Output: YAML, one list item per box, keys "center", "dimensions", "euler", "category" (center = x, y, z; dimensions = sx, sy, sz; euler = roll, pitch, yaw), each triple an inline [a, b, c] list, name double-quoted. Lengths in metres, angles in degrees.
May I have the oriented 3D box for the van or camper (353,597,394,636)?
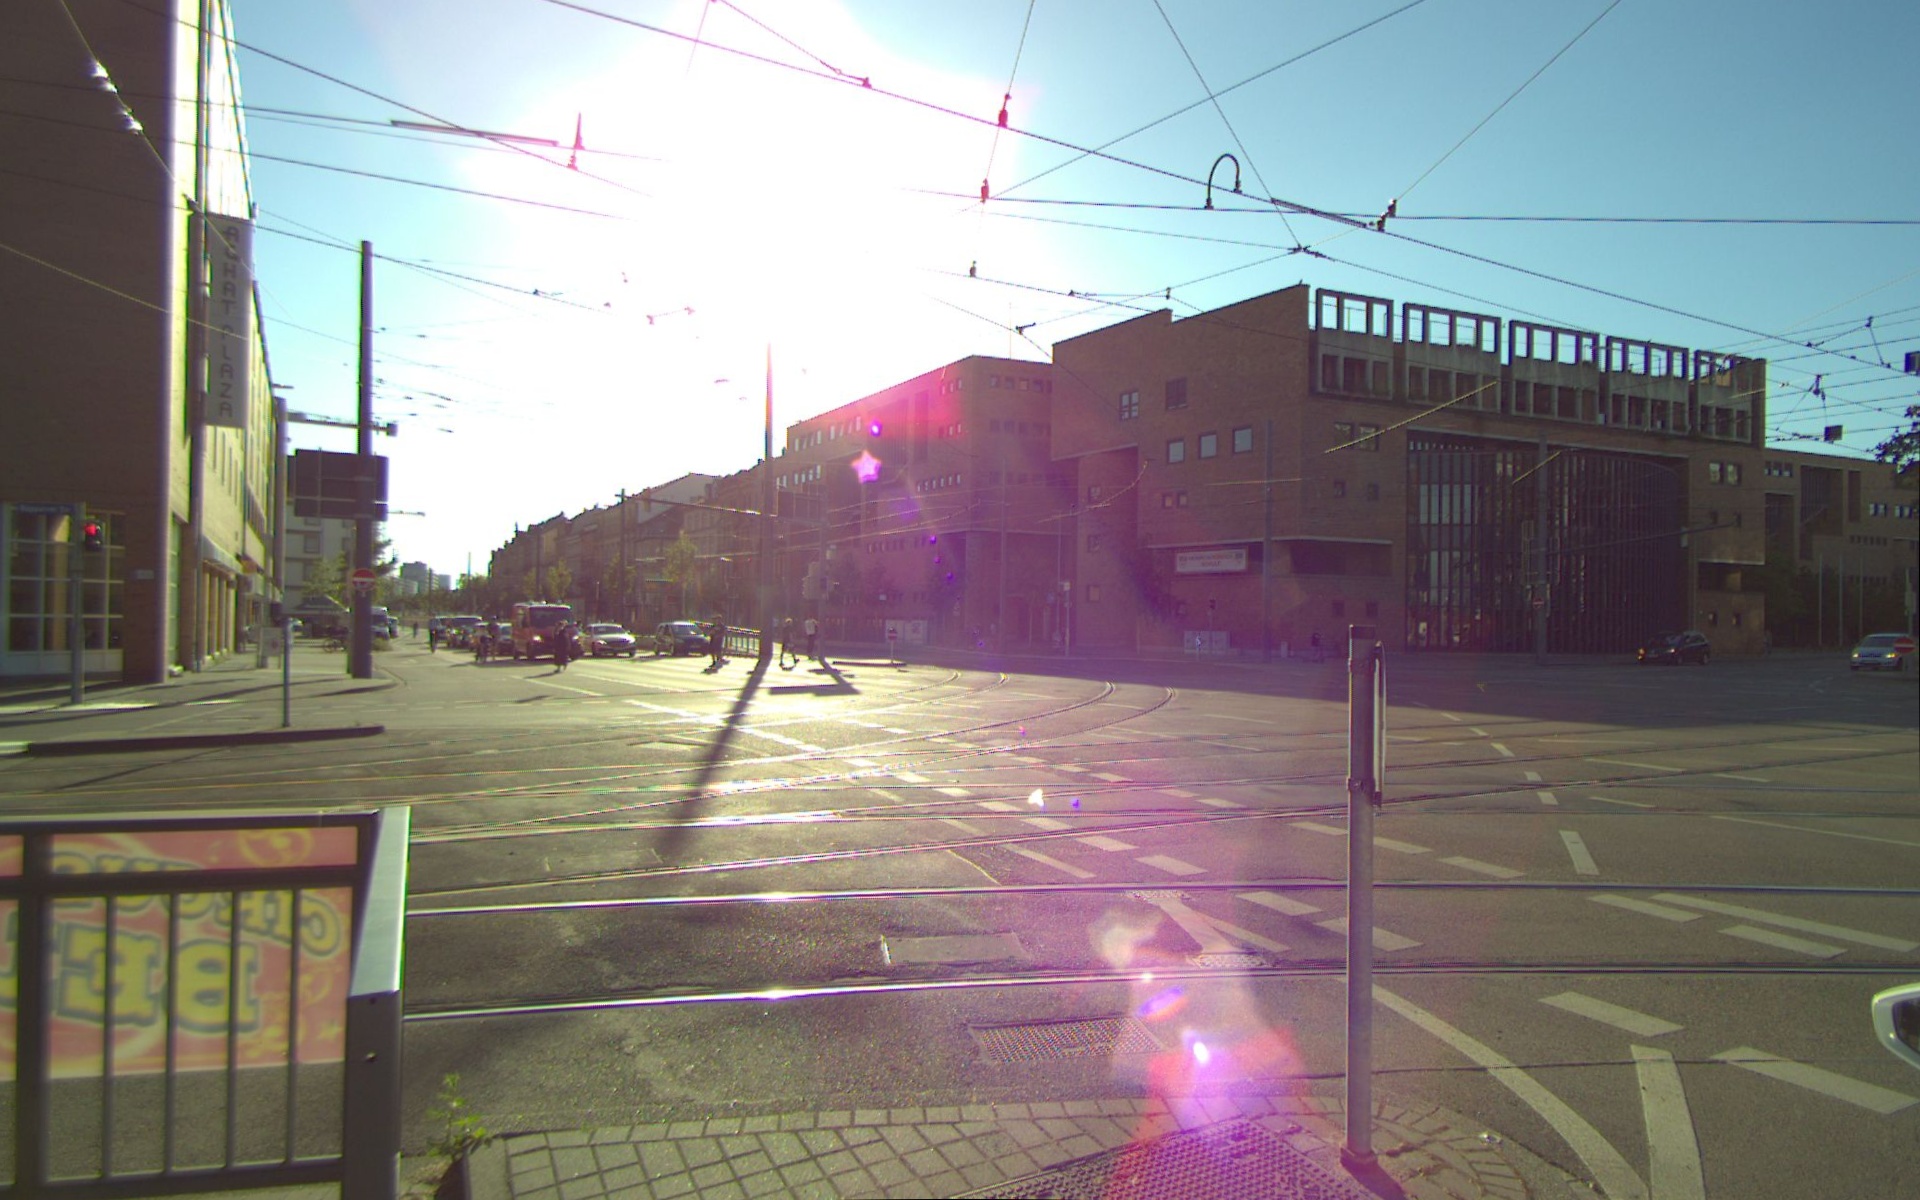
- center: [-36.317, 0.959, 62.122]
  dimensions: [1.978, 2.199, 5.565]
  euler: [1, 0, -32]
  category: "van or camper"

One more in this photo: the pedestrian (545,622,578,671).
- center: [-13.087, 1.532, 32.993]
  dimensions: [0.536, 1.574, 0.868]
  euler: [0, -1, 30]
  category: "pedestrian"

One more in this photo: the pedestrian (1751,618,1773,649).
- center: [53.833, 2.220, 67.439]
  dimensions: [0.746, 2.040, 0.896]
  euler: [1, -1, -19]
  category: "pedestrian"

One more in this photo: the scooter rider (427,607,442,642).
- center: [-26.975, 1.253, 51.576]
  dimensions: [0.525, 1.778, 0.570]
  euler: [1, -1, -11]
  category: "scooter rider"

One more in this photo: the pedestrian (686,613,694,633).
- center: [-23.641, 1.994, 87.848]
  dimensions: [0.501, 1.755, 0.645]
  euler: [1, -1, -34]
  category: "pedestrian"

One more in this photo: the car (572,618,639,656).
- center: [-16.348, 1.671, 46.222]
  dimensions: [1.874, 1.553, 3.960]
  euler: [1, 0, -36]
  category: "car"

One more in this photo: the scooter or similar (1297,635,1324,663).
- center: [17.133, 2.389, 49.115]
  dimensions: [0.525, 1.335, 1.118]
  euler: [2, -2, -42]
  category: "scooter or similar"

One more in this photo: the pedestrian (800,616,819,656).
- center: [-6.556, 1.565, 43.772]
  dimensions: [0.633, 1.740, 0.773]
  euler: [1, -1, -25]
  category: "pedestrian"

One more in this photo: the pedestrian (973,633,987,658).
- center: [1.456, 3.303, 72.375]
  dimensions: [0.726, 1.779, 0.690]
  euler: [1, -1, -29]
  category: "pedestrian"

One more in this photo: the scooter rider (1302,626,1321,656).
- center: [17.186, 1.999, 49.062]
  dimensions: [0.504, 1.480, 0.713]
  euler: [1, -1, -41]
  category: "scooter rider"

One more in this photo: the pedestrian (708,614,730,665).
- center: [-8.360, 1.364, 34.848]
  dimensions: [0.629, 1.740, 0.777]
  euler: [1, -1, -6]
  category: "pedestrian"

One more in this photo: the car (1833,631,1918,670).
- center: [40.785, 2.225, 44.733]
  dimensions: [4.277, 1.618, 1.721]
  euler: [1, -2, -32]
  category: "car"

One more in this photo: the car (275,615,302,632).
- center: [-67.862, 2.402, 101.497]
  dimensions: [1.828, 1.606, 4.109]
  euler: [1, 0, -39]
  category: "car"

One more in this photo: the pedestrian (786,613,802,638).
- center: [-11.199, 1.734, 67.761]
  dimensions: [0.882, 1.694, 0.665]
  euler: [1, -1, -36]
  category: "pedestrian"

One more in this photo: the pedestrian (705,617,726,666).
- center: [-8.692, 1.464, 35.728]
  dimensions: [0.629, 1.740, 0.777]
  euler: [1, -1, -6]
  category: "pedestrian"

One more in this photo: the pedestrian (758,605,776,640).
- center: [-9.391, 1.108, 48.882]
  dimensions: [0.671, 1.706, 0.571]
  euler: [1, -1, -30]
  category: "pedestrian"

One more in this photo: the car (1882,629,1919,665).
- center: [46.756, 2.288, 48.780]
  dimensions: [4.277, 1.672, 1.844]
  euler: [1, -2, -32]
  category: "car"

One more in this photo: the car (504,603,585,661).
- center: [-17.812, 1.343, 42.890]
  dimensions: [2.065, 2.319, 5.212]
  euler: [1, -2, -35]
  category: "car"

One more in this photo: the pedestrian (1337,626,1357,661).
- center: [19.530, 2.185, 50.703]
  dimensions: [0.807, 1.739, 0.665]
  euler: [0, -1, 9]
  category: "pedestrian"

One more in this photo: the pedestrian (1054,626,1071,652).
- center: [6.162, 2.360, 60.544]
  dimensions: [0.706, 1.559, 0.846]
  euler: [1, -1, -26]
  category: "pedestrian"

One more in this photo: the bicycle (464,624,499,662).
- center: [-19.187, 1.699, 40.266]
  dimensions: [0.924, 1.461, 2.083]
  euler: [1, -2, -34]
  category: "bicycle"

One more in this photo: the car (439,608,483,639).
- center: [-32.377, 1.499, 65.137]
  dimensions: [1.874, 1.891, 4.272]
  euler: [1, 0, -36]
  category: "car"

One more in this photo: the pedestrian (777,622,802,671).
- center: [-6.102, 1.648, 36.004]
  dimensions: [0.618, 1.724, 0.743]
  euler: [1, -1, -33]
  category: "pedestrian"

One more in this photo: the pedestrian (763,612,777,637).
- center: [-13.246, 1.714, 70.048]
  dimensions: [0.654, 1.694, 0.664]
  euler: [1, -1, -42]
  category: "pedestrian"

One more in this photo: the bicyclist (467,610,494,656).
- center: [-19.205, 1.309, 40.223]
  dimensions: [0.809, 1.810, 0.808]
  euler: [1, -1, -35]
  category: "bicyclist"

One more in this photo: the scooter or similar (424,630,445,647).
- center: [-26.970, 1.983, 51.562]
  dimensions: [0.535, 0.842, 1.238]
  euler: [1, -1, -8]
  category: "scooter or similar"

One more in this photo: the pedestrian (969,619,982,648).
- center: [0.827, 1.771, 53.112]
  dimensions: [0.483, 1.559, 0.549]
  euler: [1, -1, -20]
  category: "pedestrian"

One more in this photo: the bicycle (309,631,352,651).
- center: [-31.871, 2.090, 50.880]
  dimensions: [1.701, 0.993, 0.639]
  euler: [1, -1, -16]
  category: "bicycle"

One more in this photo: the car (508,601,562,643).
- center: [-25.469, 1.299, 60.125]
  dimensions: [2.031, 2.389, 4.873]
  euler: [1, -1, -35]
  category: "car"

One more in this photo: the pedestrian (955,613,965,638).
- center: [0.000, 1.853, 73.275]
  dimensions: [0.533, 1.779, 0.460]
  euler: [1, -1, -35]
  category: "pedestrian"

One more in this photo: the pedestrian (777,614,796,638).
- center: [-12.104, 1.805, 70.031]
  dimensions: [0.882, 1.694, 1.085]
  euler: [1, -1, -36]
  category: "pedestrian"

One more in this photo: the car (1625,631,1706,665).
- center: [36.764, 2.472, 52.320]
  dimensions: [4.450, 1.676, 1.824]
  euler: [1, -2, -32]
  category: "car"

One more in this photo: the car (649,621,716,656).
- center: [-13.019, 1.786, 46.929]
  dimensions: [1.746, 1.467, 3.960]
  euler: [1, 0, -36]
  category: "car"

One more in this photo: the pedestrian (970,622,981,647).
- center: [1.144, 2.508, 73.464]
  dimensions: [0.530, 1.779, 0.691]
  euler: [1, -1, -24]
  category: "pedestrian"
